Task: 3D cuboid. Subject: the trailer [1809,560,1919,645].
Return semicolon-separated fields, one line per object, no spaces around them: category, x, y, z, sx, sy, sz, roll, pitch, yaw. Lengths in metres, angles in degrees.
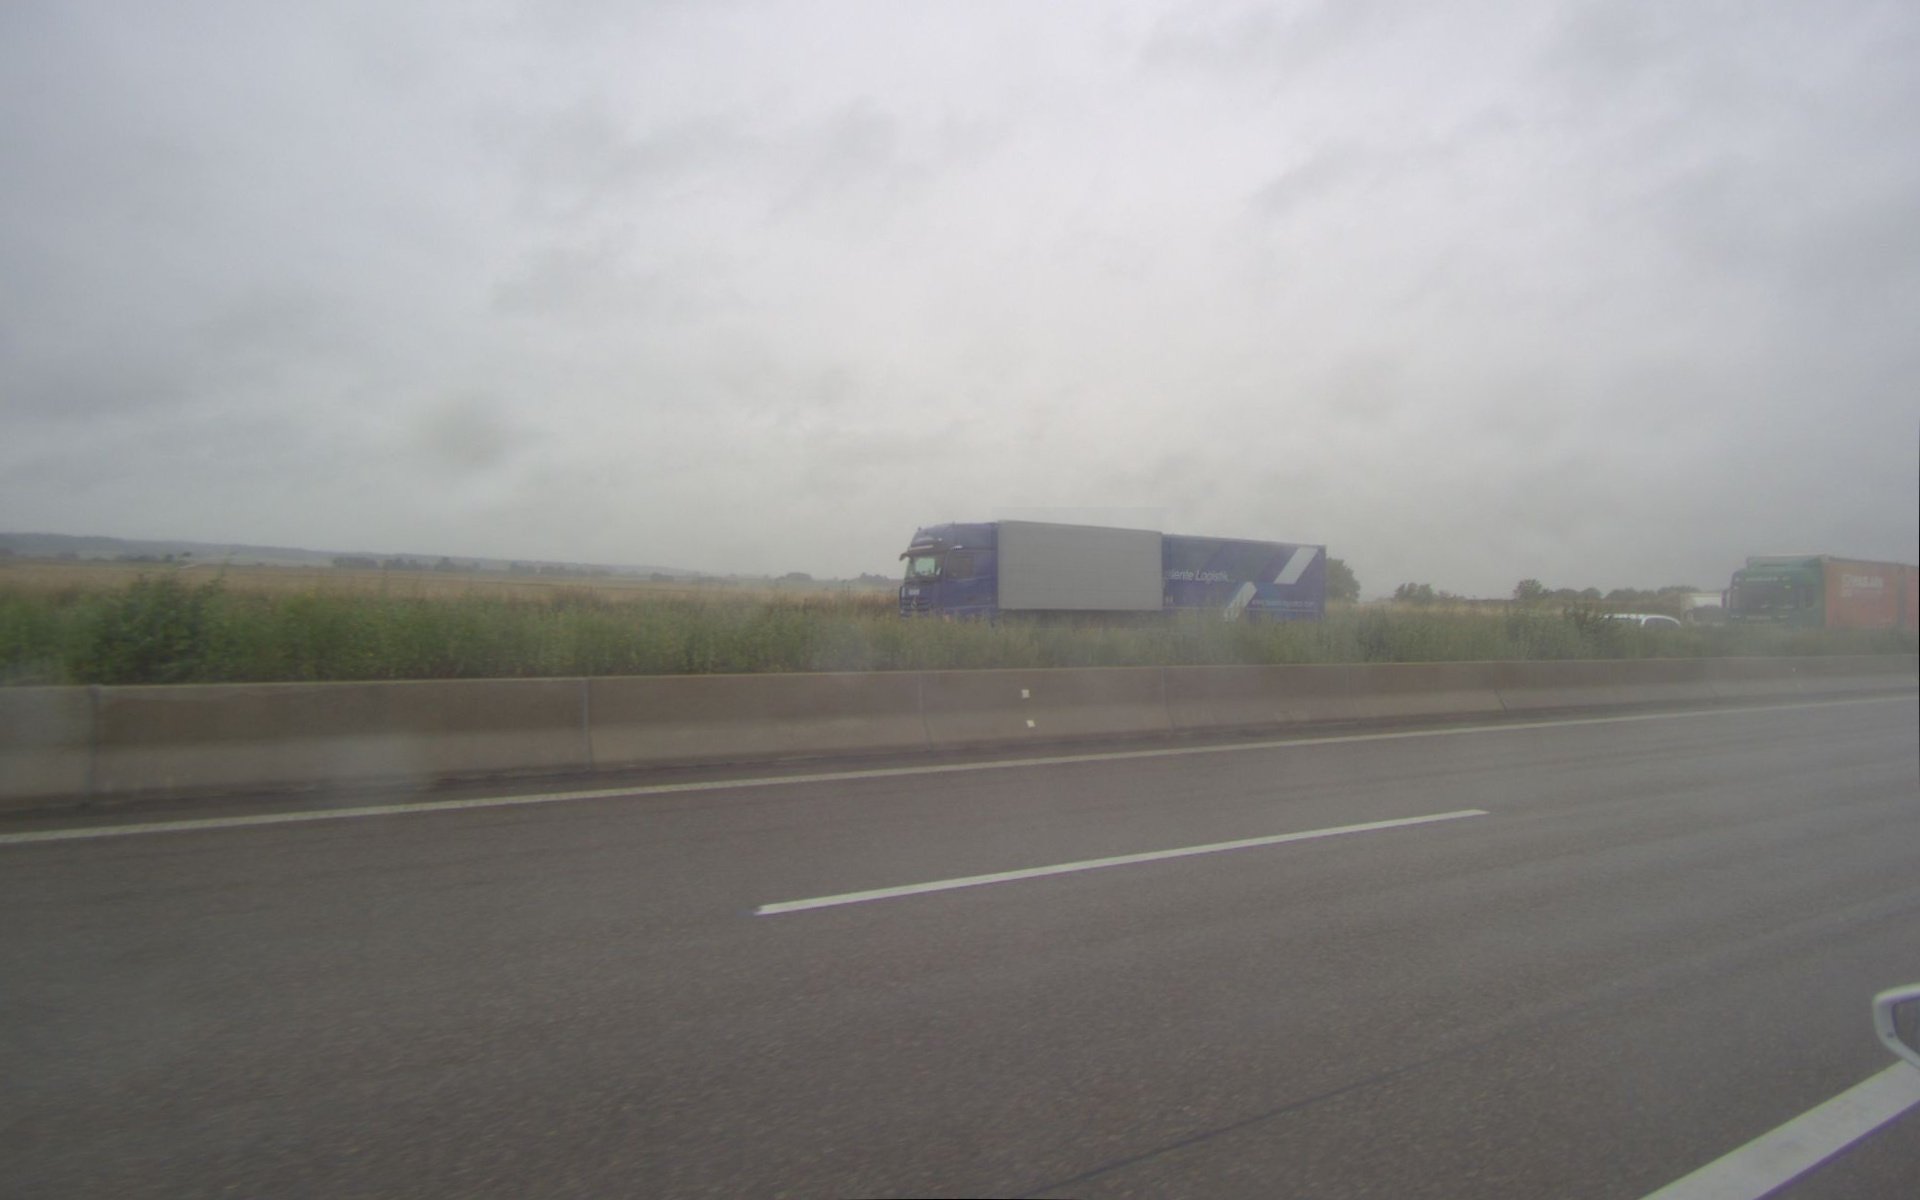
trailer;42.593;0.213;45.573;9.329;3.502;3.242;1;-1;-30

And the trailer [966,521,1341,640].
trailer;7.010;-0.415;34.227;14.069;3.463;3.099;1;-1;-31

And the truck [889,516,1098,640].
truck;1.046;-0.552;30.701;5.618;3.467;3.085;1;-1;-30

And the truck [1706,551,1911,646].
truck;34.786;0.052;41.042;10.010;3.487;3.251;1;-1;-30

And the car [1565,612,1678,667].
car;17.877;1.065;27.128;3.056;1.369;1.388;2;0;-32
